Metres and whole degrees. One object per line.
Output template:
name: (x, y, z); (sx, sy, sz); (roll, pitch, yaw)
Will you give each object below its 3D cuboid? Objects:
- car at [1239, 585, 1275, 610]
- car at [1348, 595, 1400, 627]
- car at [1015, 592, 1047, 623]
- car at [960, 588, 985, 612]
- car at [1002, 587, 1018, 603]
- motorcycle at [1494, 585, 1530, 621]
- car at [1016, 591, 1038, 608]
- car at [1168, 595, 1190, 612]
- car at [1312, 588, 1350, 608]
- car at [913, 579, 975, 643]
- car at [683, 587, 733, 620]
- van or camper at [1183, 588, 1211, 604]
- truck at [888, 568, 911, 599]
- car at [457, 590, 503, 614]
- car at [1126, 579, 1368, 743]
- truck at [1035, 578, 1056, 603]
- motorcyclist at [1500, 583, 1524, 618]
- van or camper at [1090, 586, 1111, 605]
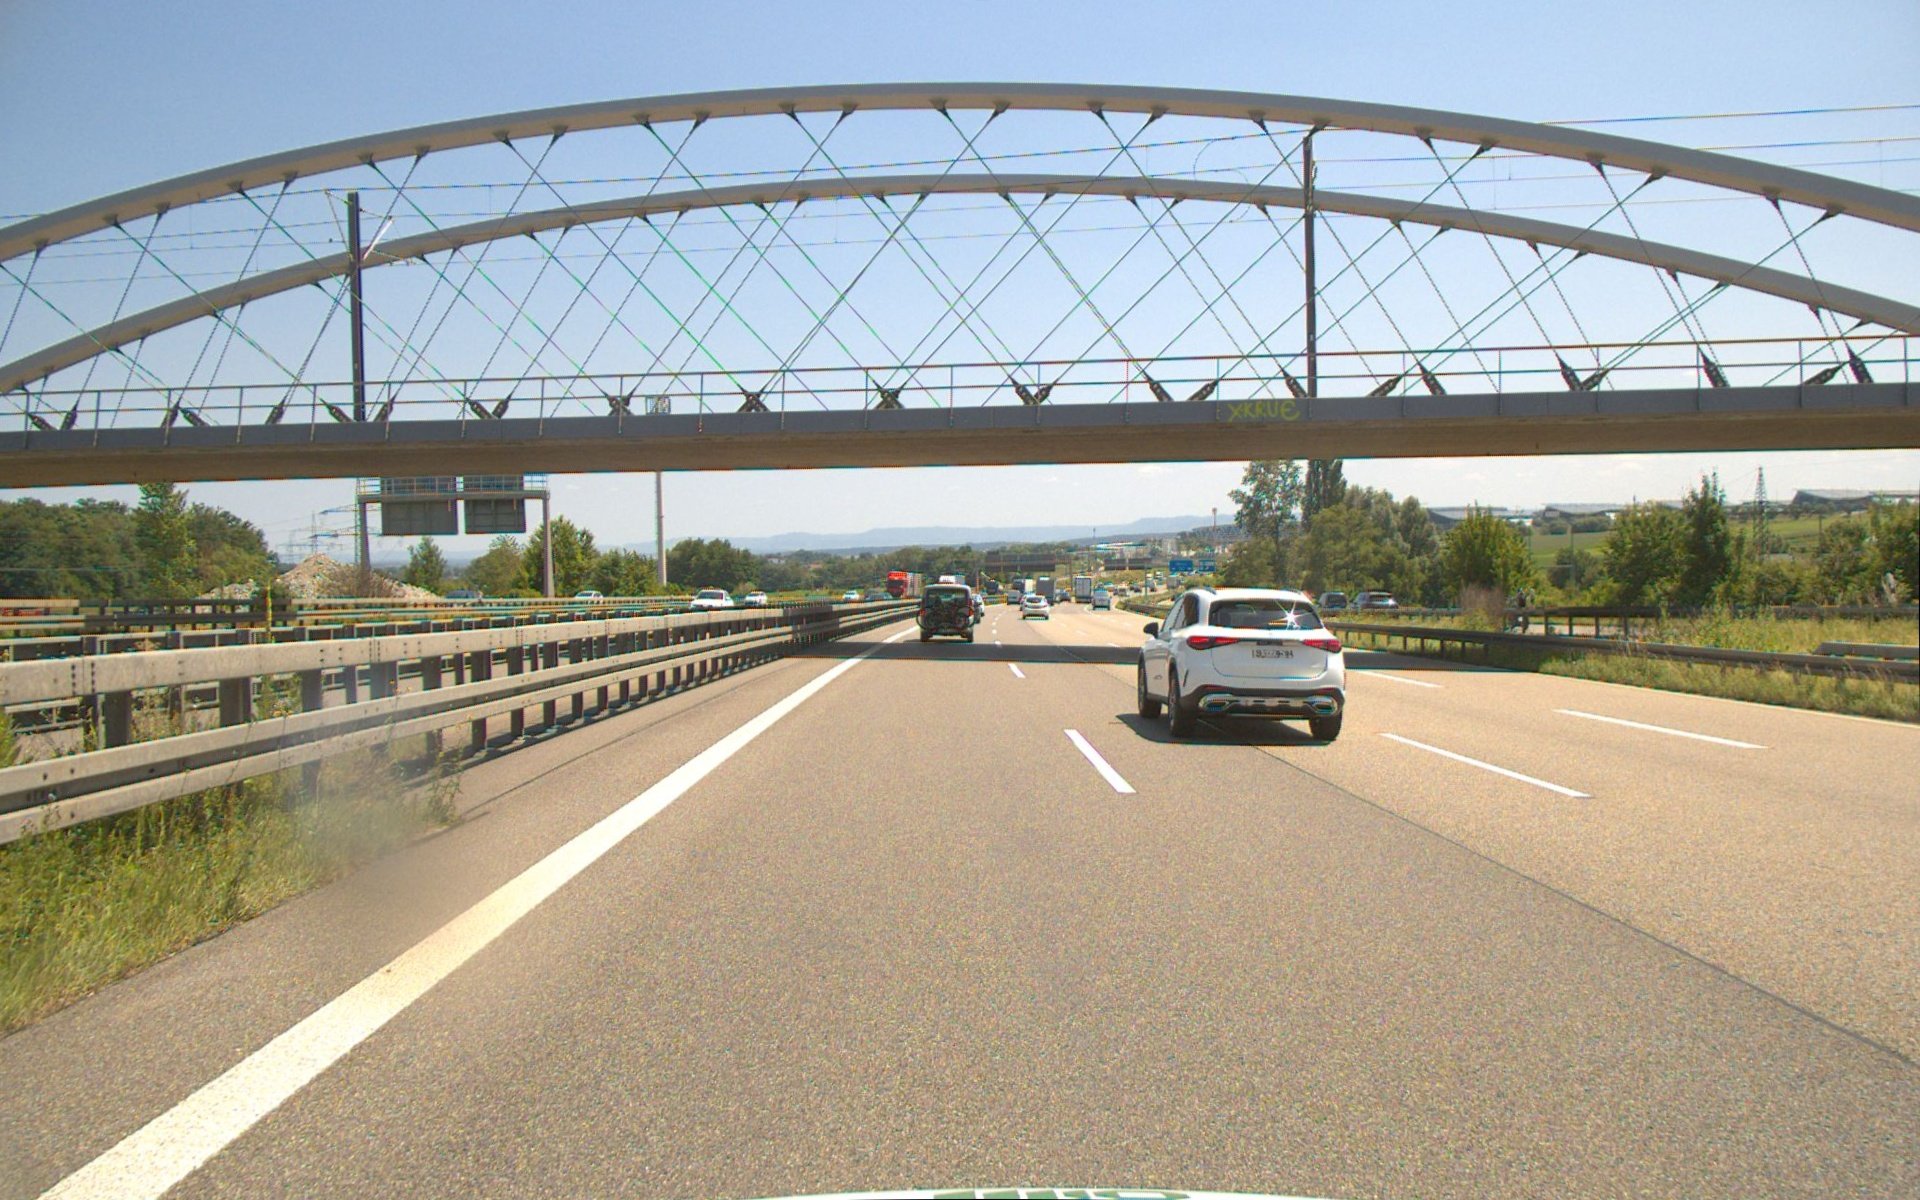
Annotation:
car: (23.201, -0.191, 129.300); (1.900, 1.957, 4.178); (1, 0, -2)
car: (21.666, 0.554, 86.672); (1.664, 1.602, 4.128); (1, 0, 0)
car: (4.511, 0.472, 105.402); (1.887, 1.952, 4.517); (1, 0, 0)
car: (0.893, 0.009, 113.611); (1.543, 1.579, 3.965); (1, 0, 2)
car: (6.549, -0.658, 216.408); (2.140, 2.038, 4.001); (1, 0, 2)
motorcycle: (21.965, 0.124, 65.864); (0.744, 1.390, 1.869); (1, 0, -2)
car: (6.288, -0.038, 155.044); (1.940, 1.499, 4.002); (0, 0, 3)
car: (26.502, 0.443, 200.530); (1.954, 2.049, 3.998); (1, 0, -3)
car: (25.852, -0.136, 115.406); (1.665, 1.299, 3.999); (1, 0, -2)
car: (-0.469, 0.335, 53.943); (1.887, 1.952, 4.948); (1, 0, 1)
car: (-13.455, 0.172, 88.545); (1.888, 1.668, 4.977); (0, 0, 0)
van or camper: (31.159, -0.494, 217.935); (2.482, 2.049, 4.452); (1, 0, -9)
truck: (-8.490, -2.235, 232.965); (2.528, 4.187, 10.350); (1, 0, 2)
car: (-34.169, 0.138, 117.813); (1.952, 1.646, 4.323); (0, 0, 1)
car: (3.232, 0.641, 19.679); (1.860, 1.676, 4.997); (1, 0, -2)
truck: (11.303, -1.195, 218.121); (2.646, 3.163, 10.663); (1, 0, 3)
motorcyclist: (21.965, 0.012, 65.797); (0.655, 1.390, 0.878); (1, 0, -1)
van or camper: (14.937, -0.461, 176.209); (2.110, 2.049, 4.306); (1, 0, 4)
